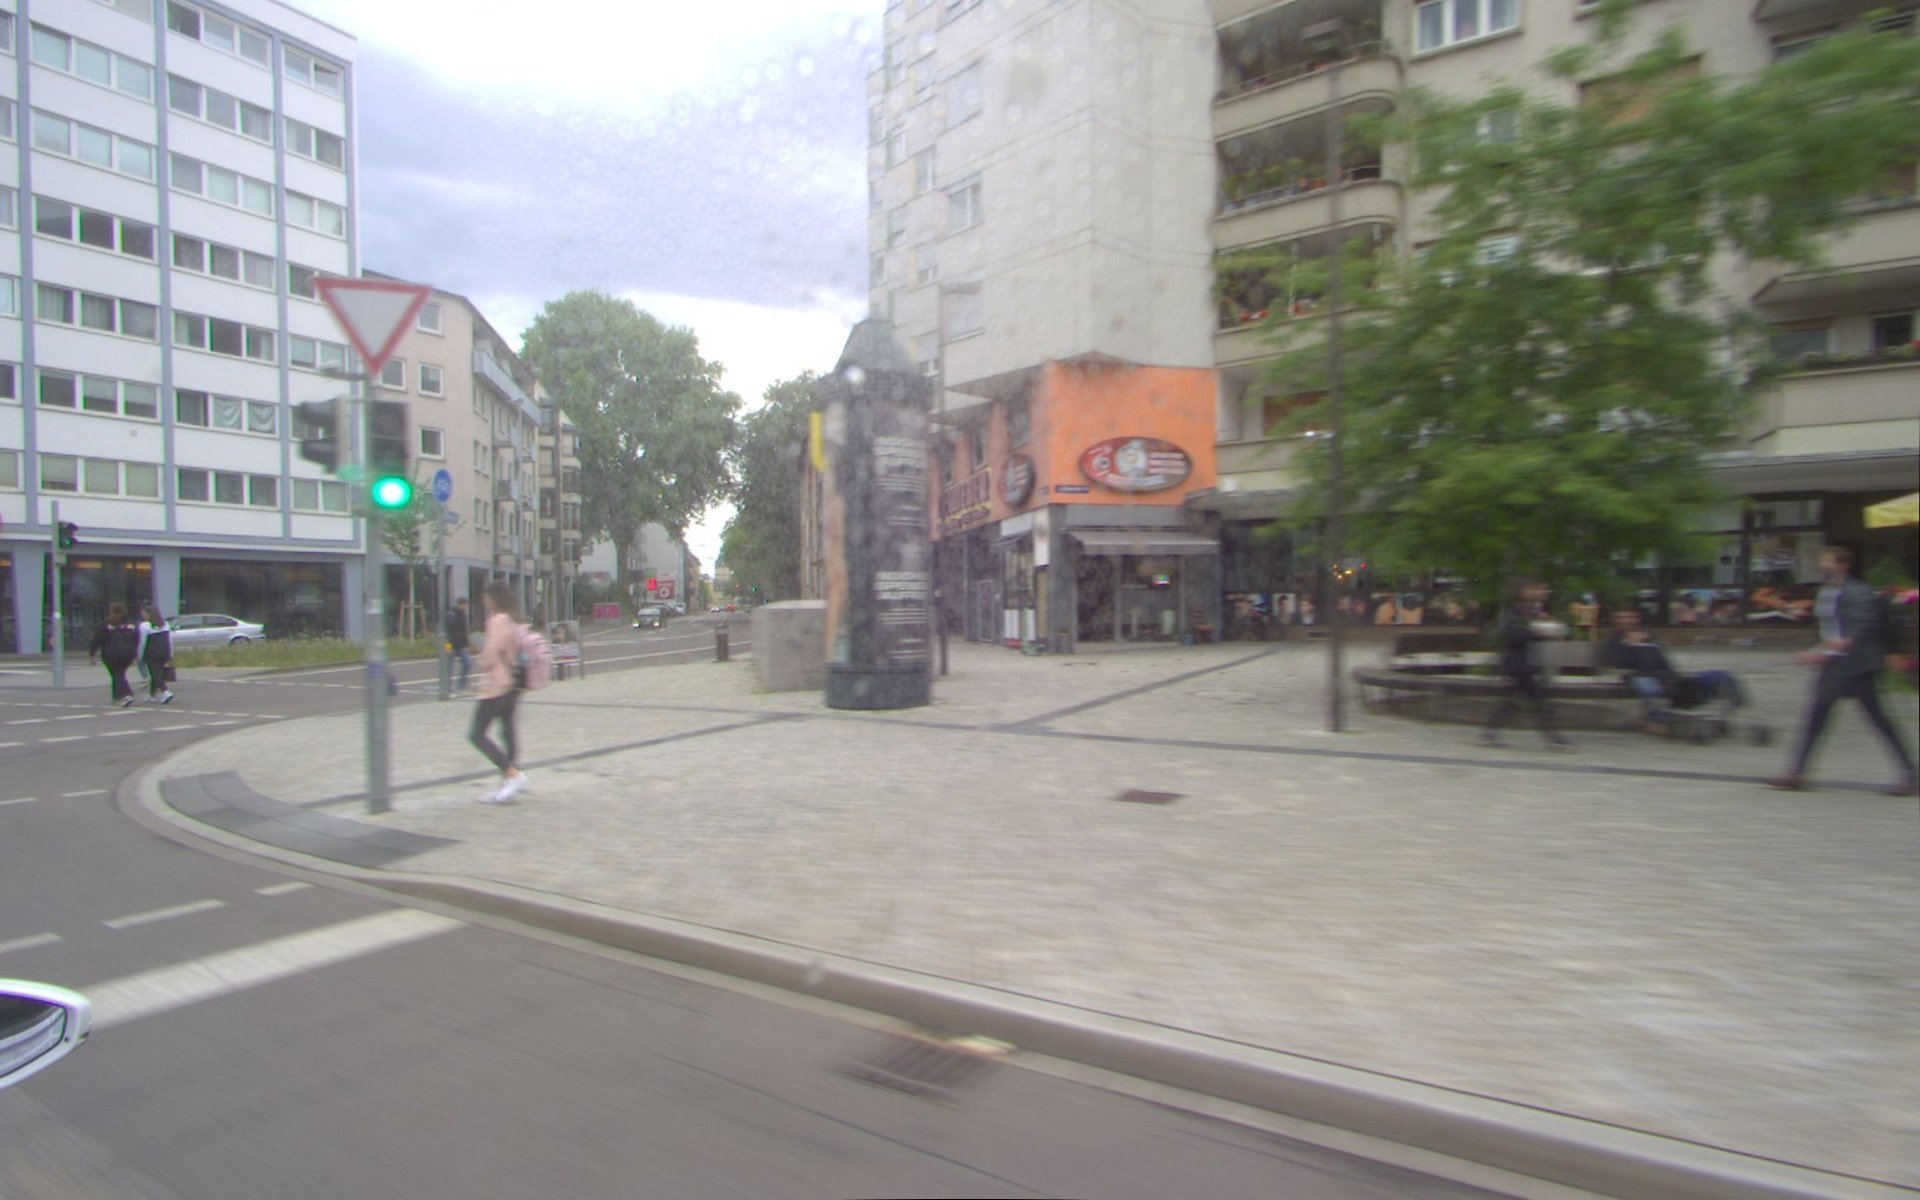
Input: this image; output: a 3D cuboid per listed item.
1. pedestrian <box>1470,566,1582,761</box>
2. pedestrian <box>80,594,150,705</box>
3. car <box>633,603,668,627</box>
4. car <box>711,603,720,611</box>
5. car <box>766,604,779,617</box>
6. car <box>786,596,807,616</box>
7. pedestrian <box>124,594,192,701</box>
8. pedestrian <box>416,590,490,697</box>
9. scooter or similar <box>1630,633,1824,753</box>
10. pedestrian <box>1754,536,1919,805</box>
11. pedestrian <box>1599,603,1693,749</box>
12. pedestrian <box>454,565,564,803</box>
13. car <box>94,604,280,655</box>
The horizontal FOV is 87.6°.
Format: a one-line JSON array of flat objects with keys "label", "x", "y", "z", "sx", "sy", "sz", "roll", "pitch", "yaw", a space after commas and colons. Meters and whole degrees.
[{"label": "pedestrian", "x": 5.196, "y": 0.559, "z": 9.236, "sx": 0.856, "sy": 1.707, "sz": 0.624, "roll": -1, "pitch": 2, "yaw": 28}, {"label": "pedestrian", "x": -14.067, "y": 0.810, "z": 16.671, "sx": 0.767, "sy": 1.784, "sz": 0.621, "roll": 0, "pitch": 0, "yaw": 24}, {"label": "car", "x": -20.310, "y": 0.967, "z": 65.807, "sx": 1.716, "sy": 1.501, "sz": 4.562, "roll": -1, "pitch": 0, "yaw": -12}, {"label": "car", "x": -54.144, "y": 1.528, "z": 221.913, "sx": 1.834, "sy": 1.798, "sz": 3.979, "roll": 1, "pitch": 0, "yaw": -11}, {"label": "car", "x": -27.248, "y": 1.493, "z": 145.678, "sx": 1.834, "sy": 1.798, "sz": 3.979, "roll": 1, "pitch": 0, "yaw": -11}, {"label": "car", "x": -15.618, "y": 0.576, "z": 95.764, "sx": 1.834, "sy": 1.798, "sz": 3.979, "roll": 1, "pitch": 0, "yaw": -11}, {"label": "pedestrian", "x": -13.808, "y": 0.803, "z": 17.242, "sx": 0.767, "sy": 1.784, "sz": 0.621, "roll": 0, "pitch": 0, "yaw": 24}, {"label": "pedestrian", "x": -9.414, "y": 0.781, "z": 18.587, "sx": 1.140, "sy": 1.888, "sz": 0.798, "roll": 0, "pitch": 2, "yaw": 42}, {"label": "scooter or similar", "x": 7.160, "y": 0.832, "z": 9.361, "sx": 1.565, "sy": 0.961, "sz": 0.723, "roll": -2, "pitch": 2, "yaw": -21}, {"label": "pedestrian", "x": 6.466, "y": 0.471, "z": 7.218, "sx": 1.062, "sy": 1.827, "sz": 0.712, "roll": -1, "pitch": 3, "yaw": 31}, {"label": "pedestrian", "x": 6.733, "y": 0.699, "z": 9.812, "sx": 0.723, "sy": 1.315, "sz": 1.040, "roll": 0, "pitch": 2, "yaw": 37}, {"label": "pedestrian", "x": -3.536, "y": 0.638, "z": 7.863, "sx": 0.592, "sy": 1.784, "sz": 0.522, "roll": 0, "pitch": 0, "yaw": 24}, {"label": "car", "x": -25.446, "y": 0.935, "z": 33.147, "sx": 1.722, "sy": 1.501, "sz": 4.546, "roll": -1, "pitch": 0, "yaw": 29}]
